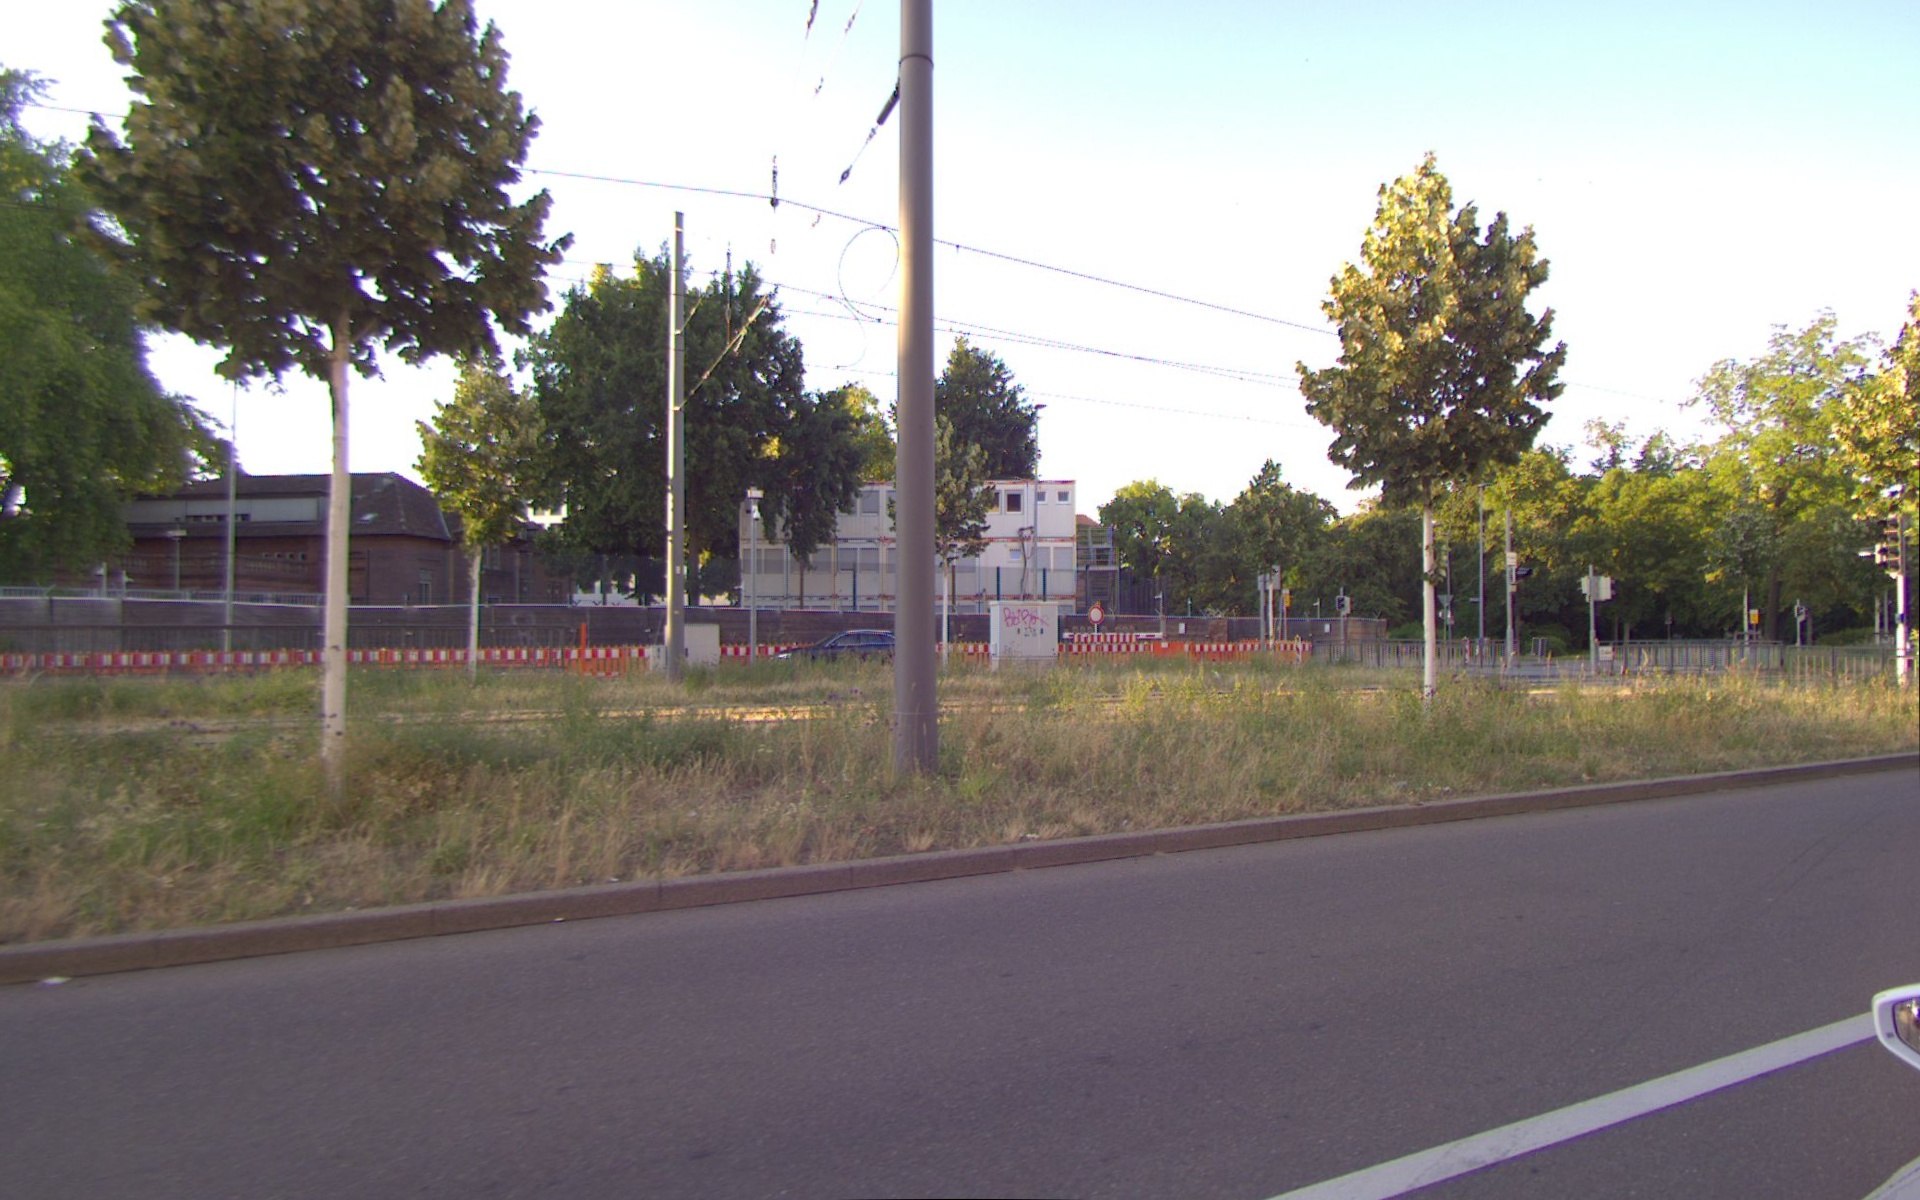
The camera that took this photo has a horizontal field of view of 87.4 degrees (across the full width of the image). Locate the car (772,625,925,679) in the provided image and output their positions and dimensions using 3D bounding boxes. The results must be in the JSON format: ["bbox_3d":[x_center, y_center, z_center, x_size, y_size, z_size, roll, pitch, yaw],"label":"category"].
[{"bbox_3d":[-3.529,1.593,31.824,4.457,1.501,1.928,-1,0,-23],"label":"car"}]
